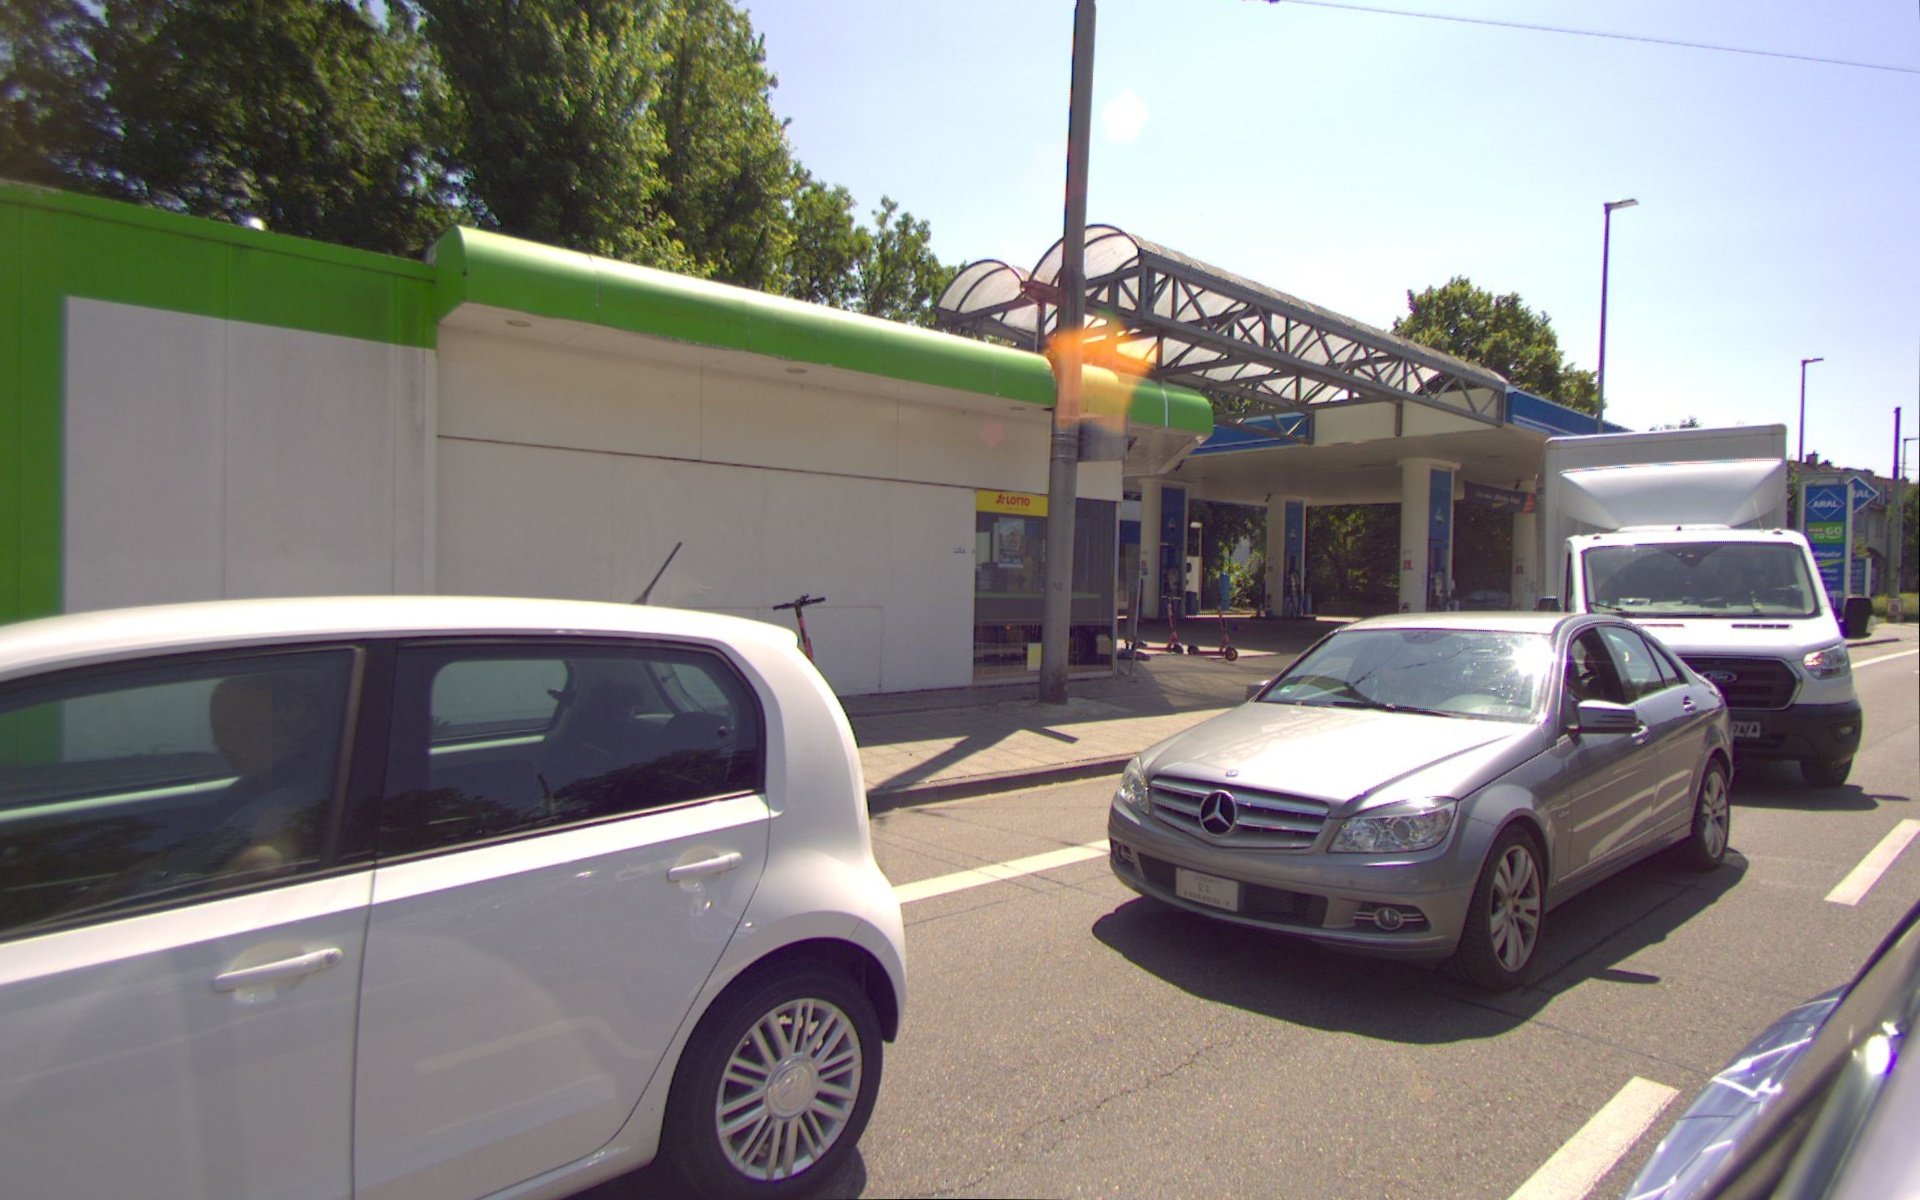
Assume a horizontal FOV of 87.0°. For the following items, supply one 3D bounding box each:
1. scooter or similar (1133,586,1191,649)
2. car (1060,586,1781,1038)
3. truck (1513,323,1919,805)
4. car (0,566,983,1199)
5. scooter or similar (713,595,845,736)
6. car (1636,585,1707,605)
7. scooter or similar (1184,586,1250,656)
[{"bbox_3d":[3.963,0.326,19.928,0.377,1.191,1.138,0,1,-39],"label":"scooter or similar"},{"bbox_3d":[2.711,0.686,5.426,4.339,1.467,1.800,0,1,-40],"label":"car"},{"bbox_3d":[7.687,-0.333,11.155,2.404,3.434,7.762,1,1,26],"label":"truck"},{"bbox_3d":[-1.782,0.666,2.306,3.458,1.469,1.610,0,1,-40],"label":"car"},{"bbox_3d":[-1.667,0.575,9.379,1.117,1.209,0.384,0,4,-36],"label":"scooter or similar"},{"bbox_3d":[57.201,-0.423,81.442,1.961,1.540,4.230,0,1,-32],"label":"car"},{"bbox_3d":[4.799,0.377,18.952,0.404,1.256,1.176,0,1,-39],"label":"scooter or similar"}]
